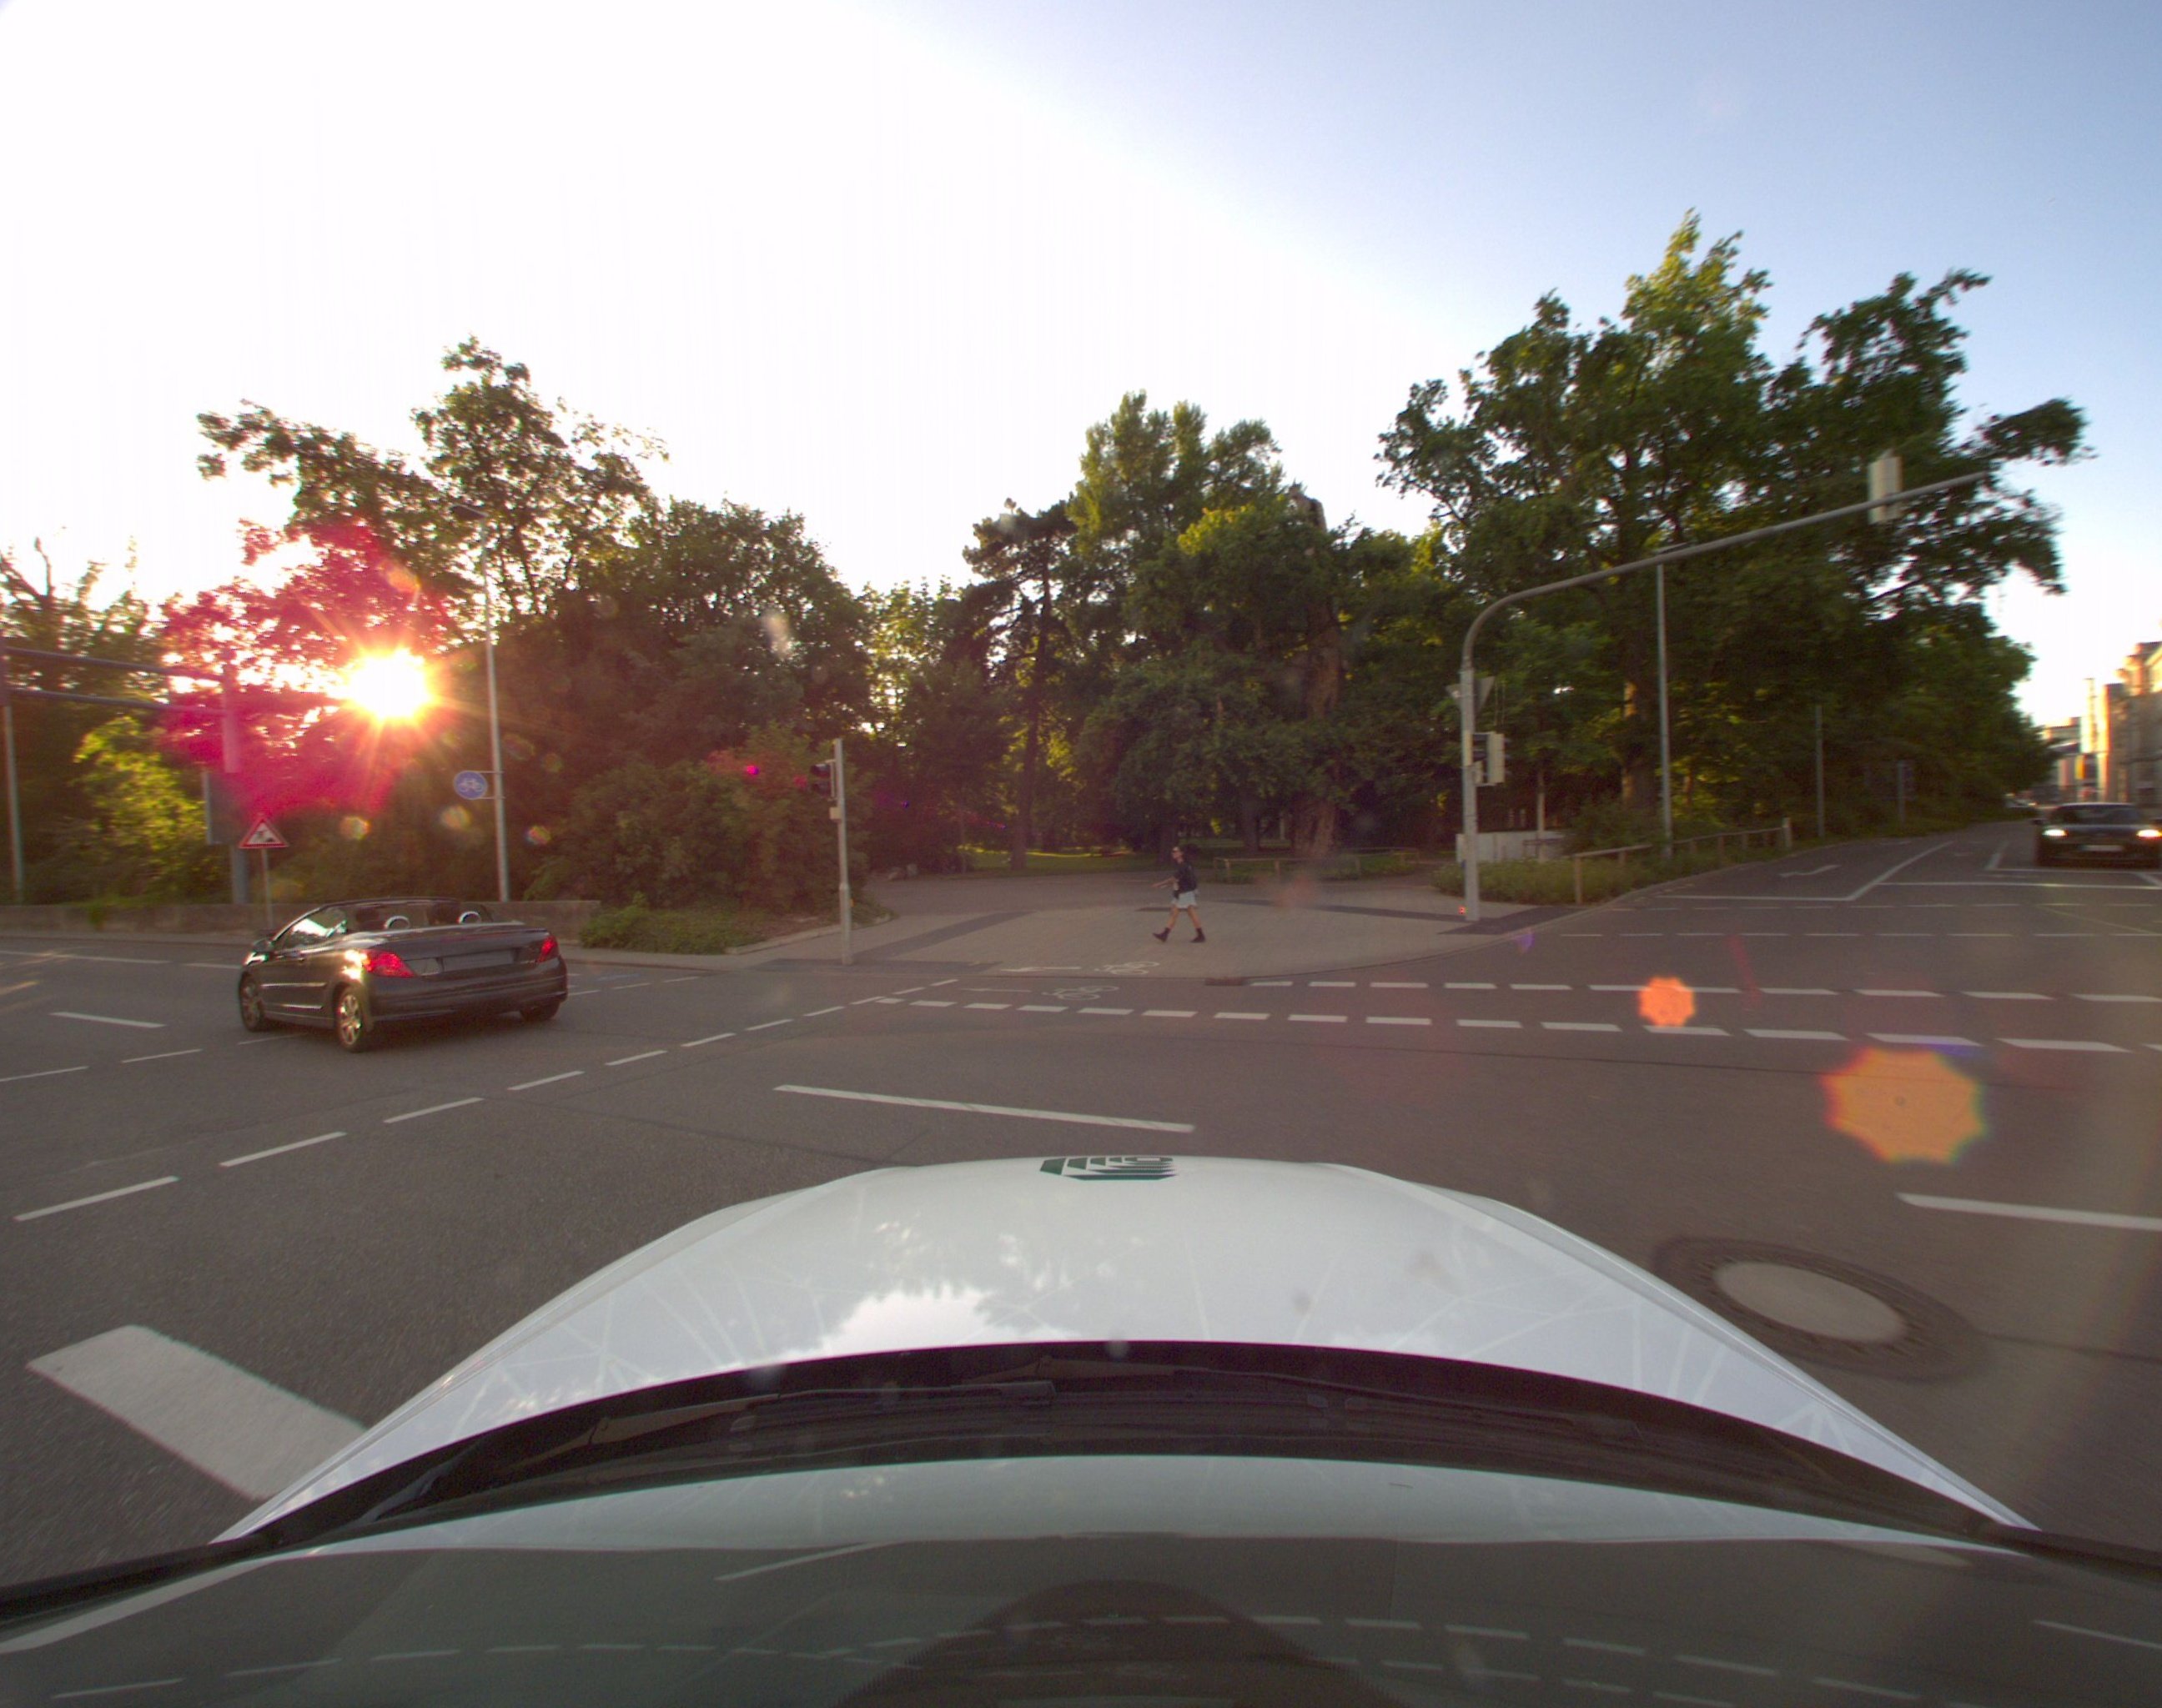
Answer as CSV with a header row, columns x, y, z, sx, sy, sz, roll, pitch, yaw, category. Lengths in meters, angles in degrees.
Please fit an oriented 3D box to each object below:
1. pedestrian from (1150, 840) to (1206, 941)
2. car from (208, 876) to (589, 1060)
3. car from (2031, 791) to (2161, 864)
x,y,z,sx,sy,sz,roll,pitch,yaw,category
1.527,0.557,12.791,0.611,1.503,0.584,-2,4,30,pedestrian
-7.220,1.046,8.575,3.851,1.449,1.735,-2,1,29,car
23.469,-0.635,18.897,3.596,1.516,1.808,-3,2,-41,car
